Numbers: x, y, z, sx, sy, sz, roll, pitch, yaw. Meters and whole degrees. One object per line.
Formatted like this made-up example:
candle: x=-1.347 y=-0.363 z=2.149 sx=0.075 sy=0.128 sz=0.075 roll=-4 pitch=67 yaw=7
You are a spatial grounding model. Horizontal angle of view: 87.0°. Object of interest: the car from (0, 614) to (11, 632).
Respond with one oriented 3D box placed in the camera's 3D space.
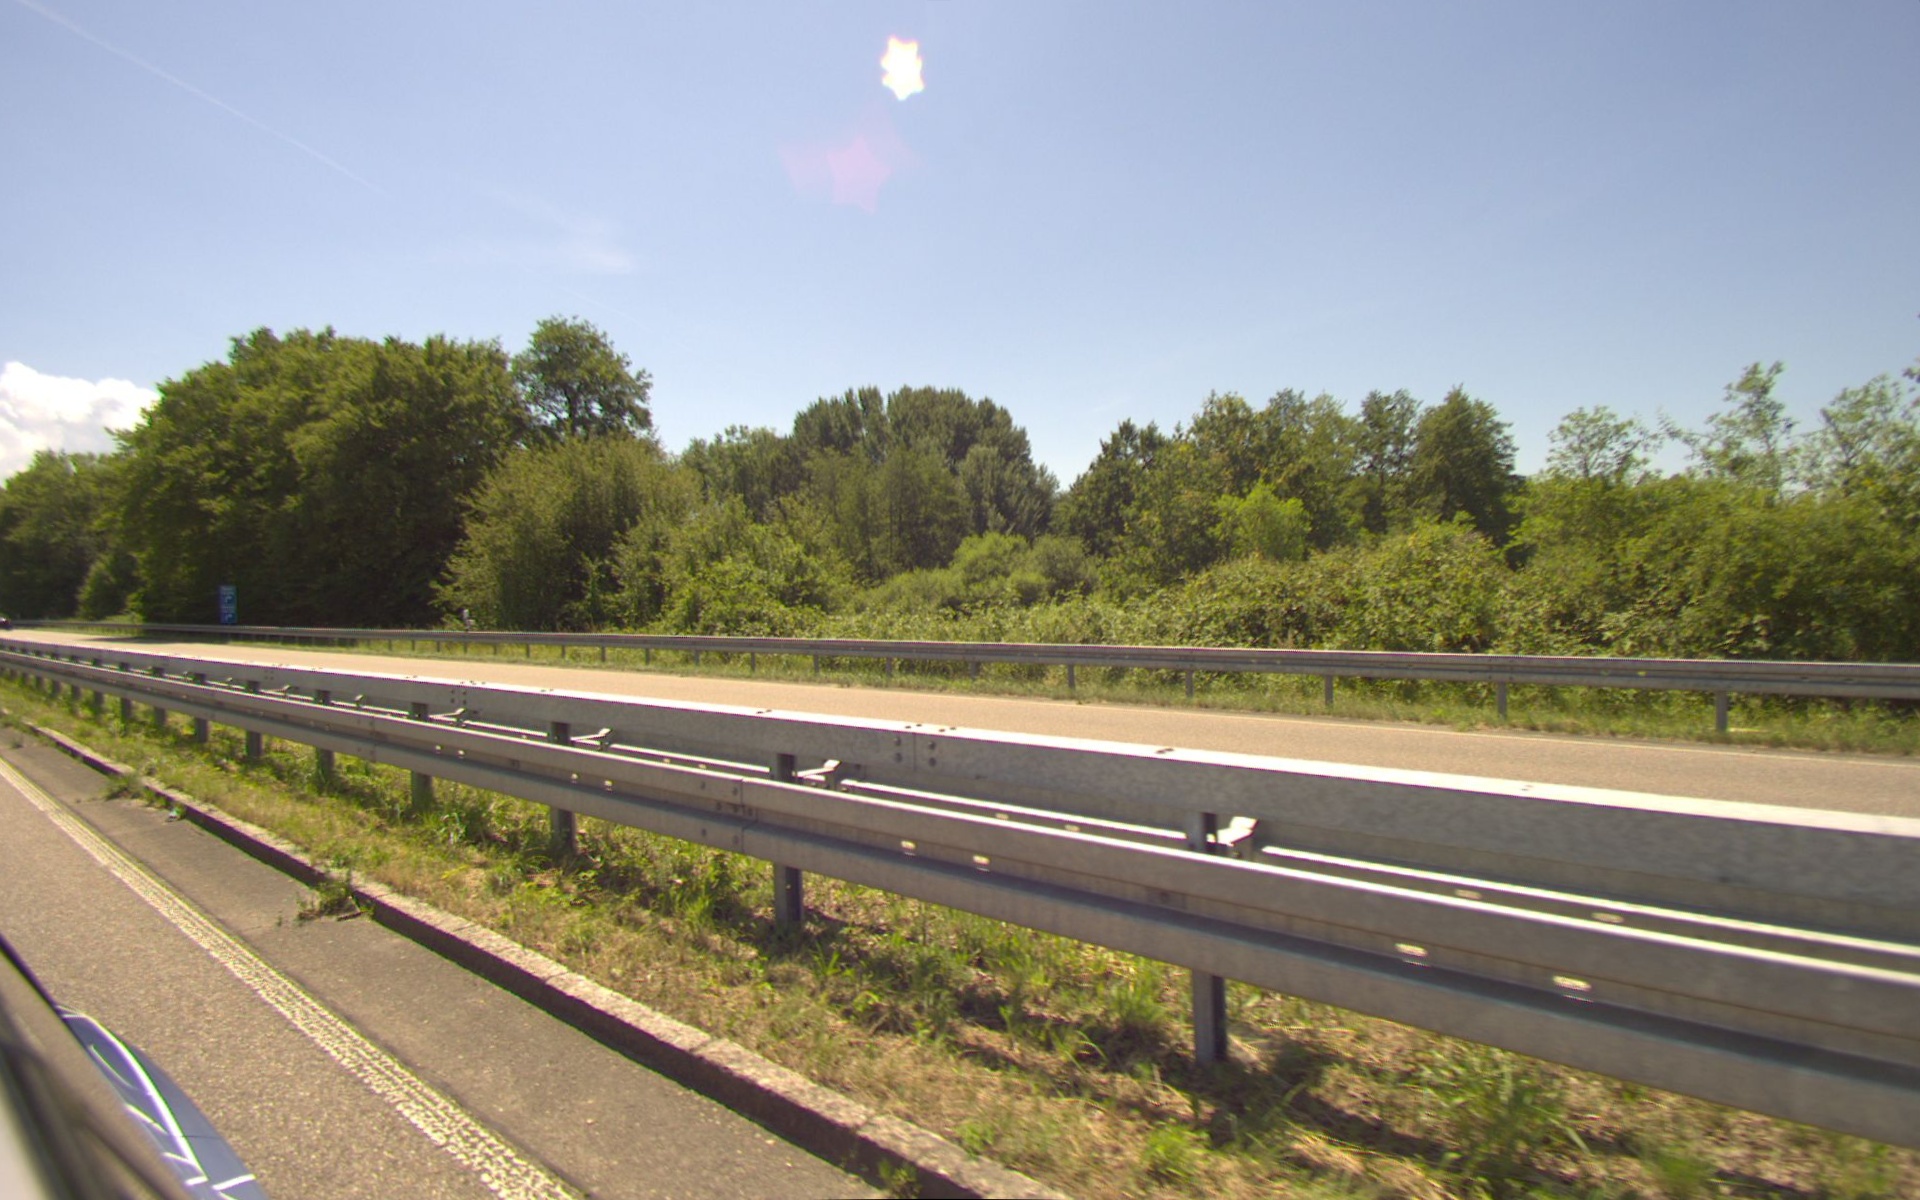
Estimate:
car: x=-79.724 y=1.906 z=83.512 sx=3.772 sy=1.479 sz=1.778 roll=-1 pitch=0 yaw=42
